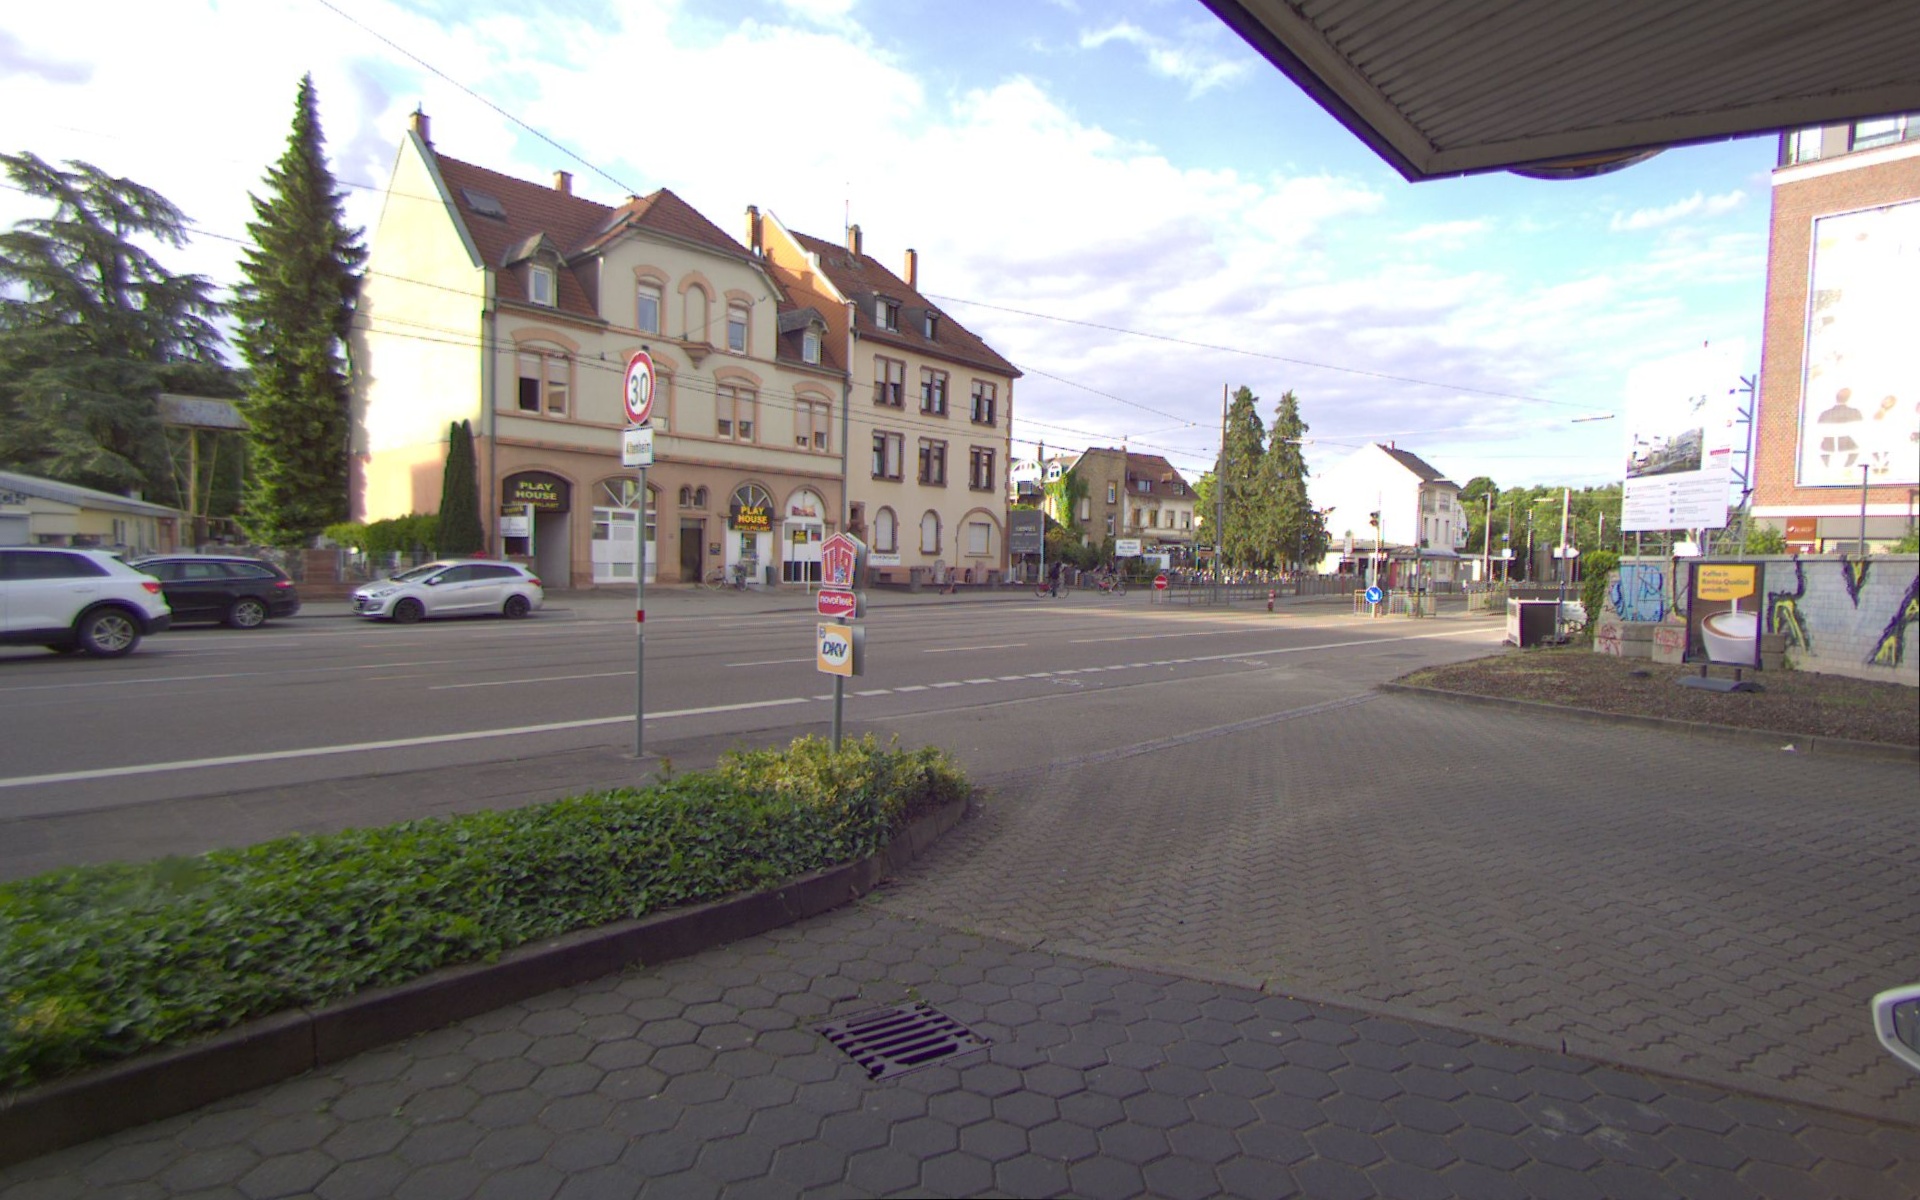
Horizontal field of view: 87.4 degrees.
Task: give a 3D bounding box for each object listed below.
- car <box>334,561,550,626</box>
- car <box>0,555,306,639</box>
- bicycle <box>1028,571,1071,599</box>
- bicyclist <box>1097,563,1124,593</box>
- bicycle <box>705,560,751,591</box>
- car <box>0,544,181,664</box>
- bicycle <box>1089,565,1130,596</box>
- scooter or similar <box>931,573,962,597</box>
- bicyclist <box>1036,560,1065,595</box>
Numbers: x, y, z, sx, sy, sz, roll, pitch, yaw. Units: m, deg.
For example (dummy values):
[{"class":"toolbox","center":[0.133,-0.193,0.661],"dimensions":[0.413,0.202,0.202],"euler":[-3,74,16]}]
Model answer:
[{"class":"car","center":[-13.004,-0.240,25.460],"dimensions":[1.970,1.495,4.467],"euler":[3,3,40]},{"class":"car","center":[-16.573,-0.142,20.727],"dimensions":[1.970,1.516,4.801],"euler":[3,3,40]},{"class":"bicycle","center":[4.345,-0.710,48.570],"dimensions":[1.884,1.219,0.839],"euler":[1,6,-31]},{"class":"bicyclist","center":[7.954,-1.179,53.044],"dimensions":[1.079,1.512,0.785],"euler":[2,4,-20]},{"class":"bicycle","center":[-9.146,-0.950,39.704],"dimensions":[0.508,1.189,1.809],"euler":[4,2,40]},{"class":"car","center":[-13.577,0.042,13.629],"dimensions":[1.808,1.598,4.372],"euler":[1,2,30]},{"class":"bicycle","center":[7.900,-1.045,53.034],"dimensions":[1.962,1.512,0.785],"euler":[2,4,-21]},{"class":"scooter or similar","center":[-0.601,-0.686,45.131],"dimensions":[0.488,1.015,1.592],"euler":[5,5,39]},{"class":"bicyclist","center":[4.373,-1.102,48.525],"dimensions":[0.953,1.579,0.839],"euler":[1,6,-31]}]
